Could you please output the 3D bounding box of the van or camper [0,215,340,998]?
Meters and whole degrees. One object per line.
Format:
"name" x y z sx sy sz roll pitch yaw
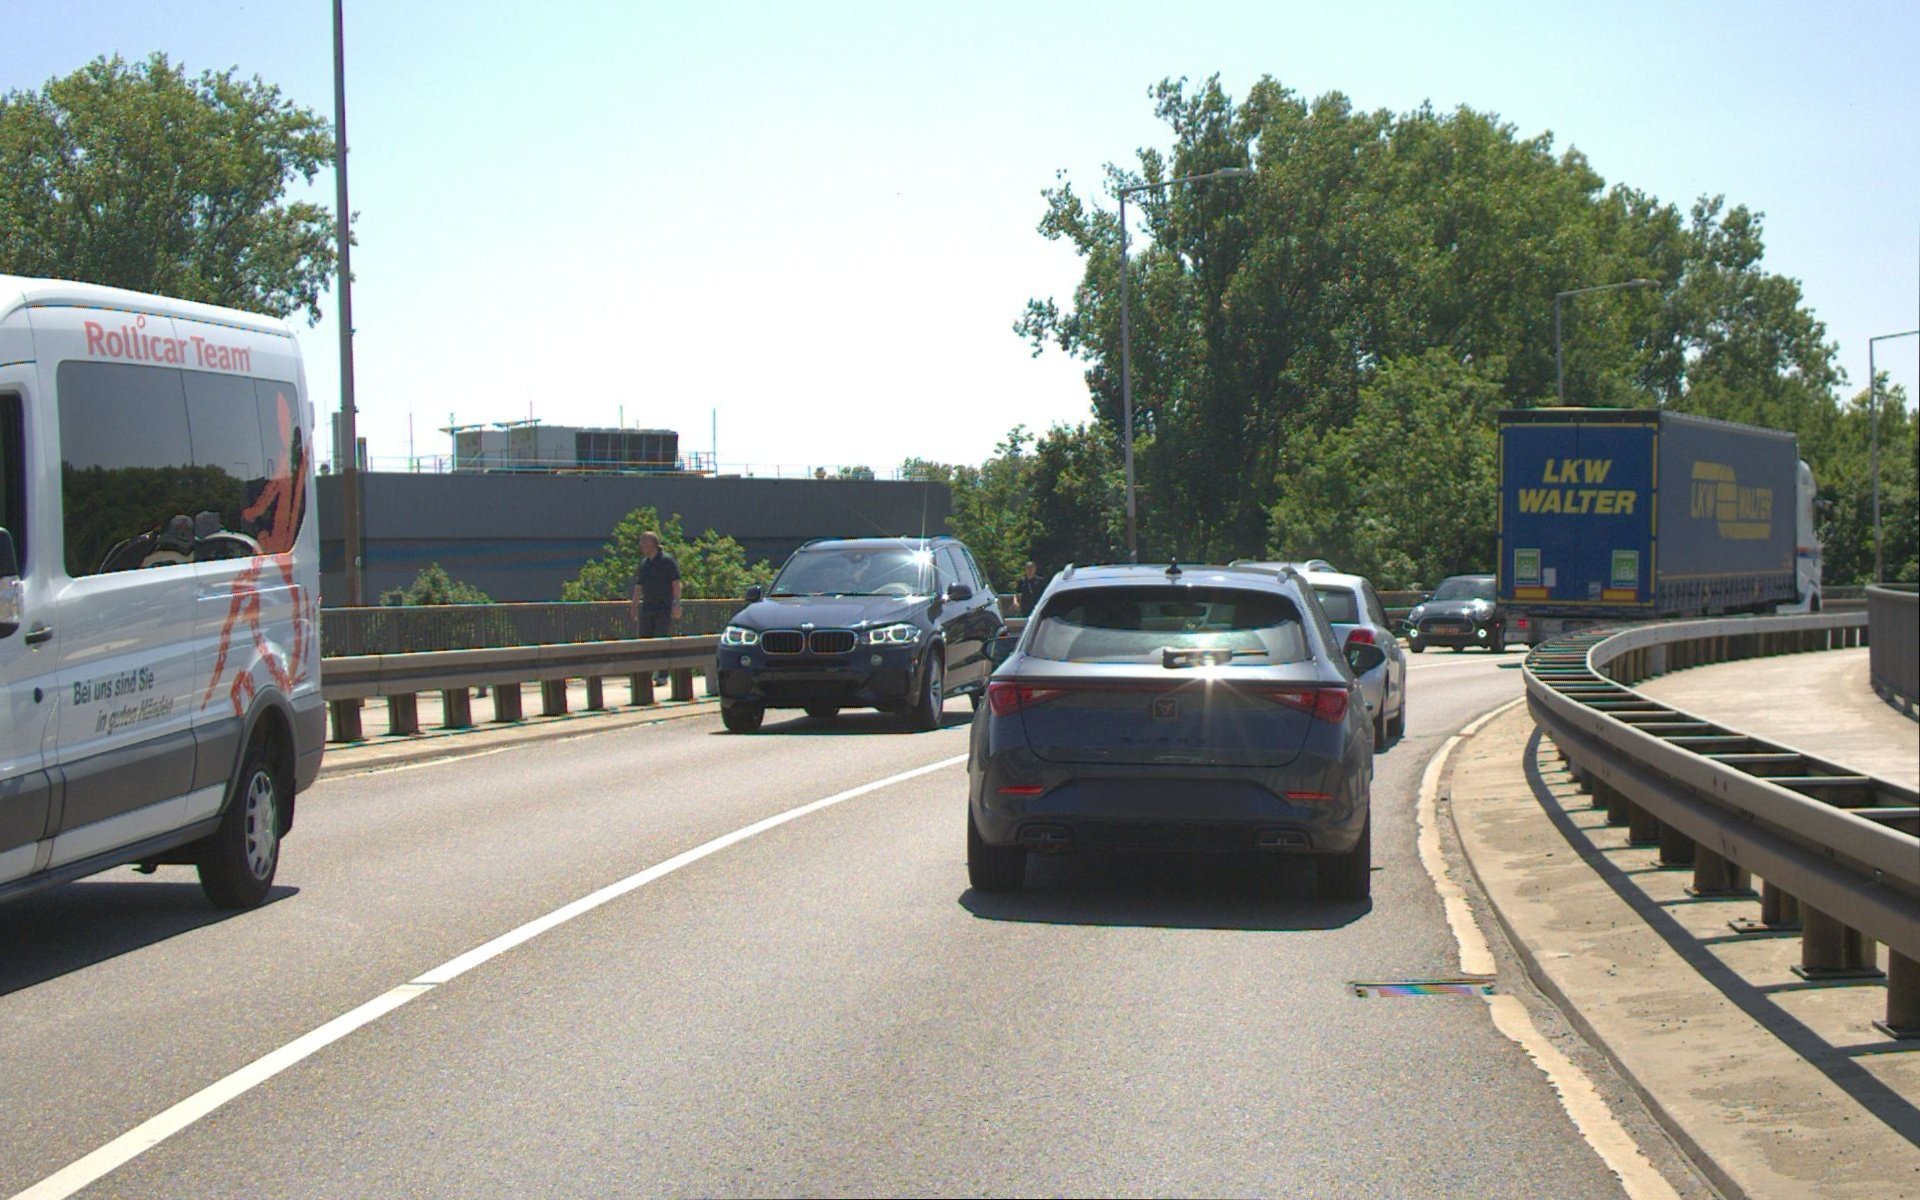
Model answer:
"van or camper" -4.021 -0.005 12.221 2.048 2.529 5.882 0 1 6

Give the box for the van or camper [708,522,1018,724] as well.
"van or camper" -0.814 0.203 32.242 1.994 1.755 4.696 0 0 10

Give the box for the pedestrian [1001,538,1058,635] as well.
"pedestrian" 1.122 -0.216 55.598 0.715 1.556 0.694 -1 -1 19

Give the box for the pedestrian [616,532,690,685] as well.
"pedestrian" -3.627 0.094 40.621 0.638 1.776 0.811 1 0 10

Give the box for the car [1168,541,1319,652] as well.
"car" 4.424 -0.036 53.115 1.896 1.649 4.256 0 -1 11

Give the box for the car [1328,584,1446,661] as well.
"car" 8.281 0.429 66.402 1.790 1.414 3.771 -1 0 14

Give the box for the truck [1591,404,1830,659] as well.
"truck" 14.454 -1.243 65.766 3.174 4.569 7.388 1 0 22

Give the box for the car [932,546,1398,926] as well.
"car" 0.900 0.513 15.651 1.846 1.493 3.758 1 1 3

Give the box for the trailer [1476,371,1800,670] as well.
"trailer" 12.008 -1.254 59.594 3.137 4.598 12.933 2 1 21

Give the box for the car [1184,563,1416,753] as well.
"car" 2.938 0.451 29.159 1.594 1.456 3.543 2 1 11
